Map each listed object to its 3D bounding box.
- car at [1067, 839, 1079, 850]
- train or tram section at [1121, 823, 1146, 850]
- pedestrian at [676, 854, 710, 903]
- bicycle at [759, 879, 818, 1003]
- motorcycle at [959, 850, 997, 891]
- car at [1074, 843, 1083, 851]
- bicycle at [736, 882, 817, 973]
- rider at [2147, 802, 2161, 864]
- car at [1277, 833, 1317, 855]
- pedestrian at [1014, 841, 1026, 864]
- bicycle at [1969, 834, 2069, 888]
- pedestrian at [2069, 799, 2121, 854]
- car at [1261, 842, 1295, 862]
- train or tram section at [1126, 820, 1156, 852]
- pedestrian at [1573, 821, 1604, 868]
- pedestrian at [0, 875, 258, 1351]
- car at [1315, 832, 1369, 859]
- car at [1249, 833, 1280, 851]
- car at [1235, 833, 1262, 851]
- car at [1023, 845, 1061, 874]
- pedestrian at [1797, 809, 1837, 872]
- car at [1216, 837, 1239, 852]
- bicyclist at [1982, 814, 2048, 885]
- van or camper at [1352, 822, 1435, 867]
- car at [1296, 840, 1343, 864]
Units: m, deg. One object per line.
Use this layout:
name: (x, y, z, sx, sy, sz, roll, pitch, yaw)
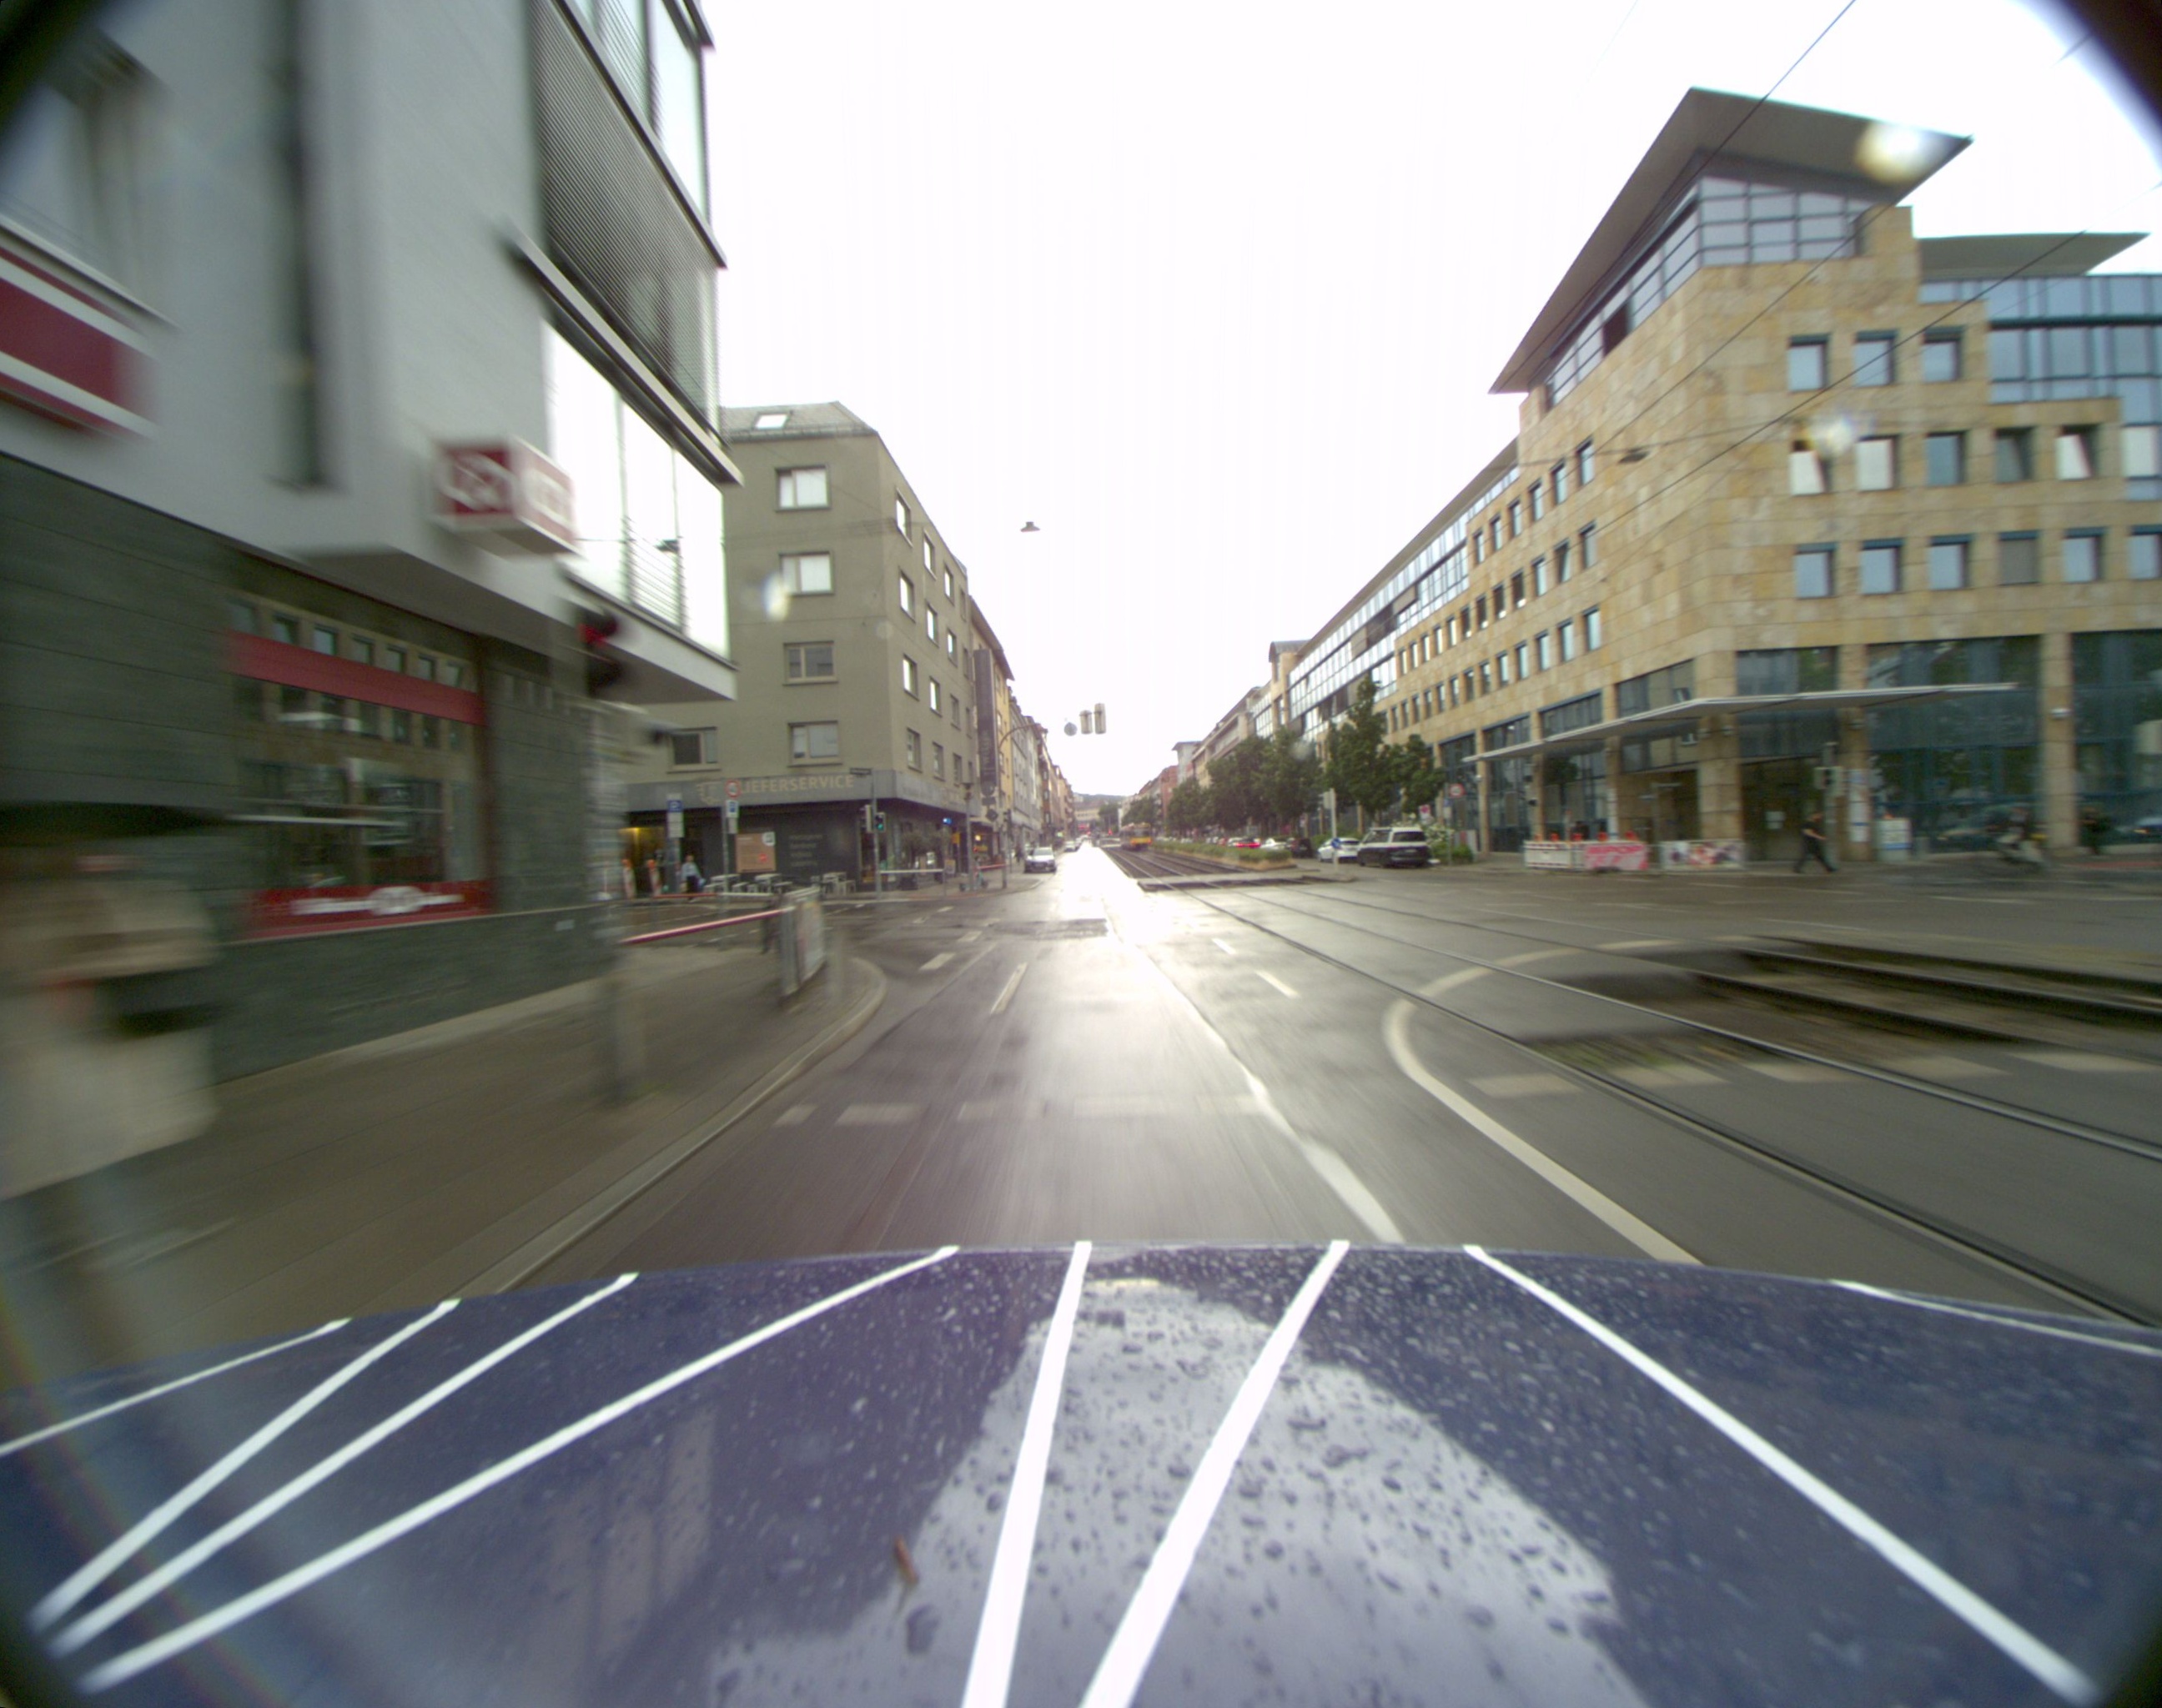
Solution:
car: (-1.220, -1.441, 114.359, 1.653, 1.489, 4.067, -2, 1, 1)
train or tram section: (8.583, -2.971, 126.139, 2.909, 4.028, 18.407, -2, 2, 1)
pedestrian: (-13.278, 0.834, 26.011, 0.549, 1.601, 0.861, -2, 3, 4)
bicycle: (-3.524, 0.955, 9.067, 0.499, 1.251, 1.953, -4, 1, -24)
motorcycle: (-3.776, 0.597, 27.795, 1.134, 1.453, 0.682, -3, 2, -35)
car: (-0.464, -1.380, 146.727, 1.653, 1.584, 4.067, -2, 1, 1)
bicycle: (-4.462, 1.014, 11.059, 0.579, 1.151, 1.951, -4, 1, -35)
rider: (29.426, -0.568, 20.304, 0.710, 1.666, 0.784, -3, 1, 1)
car: (15.769, -0.685, 55.588, 1.693, 1.477, 3.999, -3, 0, 0)
pedestrian: (-4.591, -0.130, 57.239, 0.793, 1.650, 0.721, -4, 2, 1)
bicycle: (24.794, 0.177, 20.100, 1.768, 1.303, 0.660, -3, 1, 0)
pedestrian: (30.984, -0.816, 23.228, 0.580, 1.627, 0.703, -3, 1, 2)
car: (15.654, -0.180, 60.585, 1.653, 1.489, 4.192, -2, 1, 1)
train or tram section: (8.271, -2.612, 107.554, 2.909, 4.028, 18.763, -2, 2, 1)
pedestrian: (19.860, -0.376, 29.745, 0.703, 1.804, 0.679, -3, 1, 3)
pedestrian: (-3.866, 0.892, 2.880, 0.662, 1.573, 0.778, -3, 1, -21)
car: (15.465, -0.481, 45.288, 1.693, 1.477, 4.255, -3, 0, 0)
car: (15.882, -1.043, 65.896, 1.653, 1.489, 4.292, -2, 1, 1)
car: (15.863, -1.181, 71.966, 1.653, 1.592, 4.292, -2, 1, 1)
car: (-2.371, 0.274, 46.936, 2.029, 1.585, 4.619, -2, 1, 0)
pedestrian: (21.307, -0.380, 22.009, 0.677, 1.771, 0.705, -2, 1, 36)
car: (16.143, -1.041, 83.888, 1.653, 1.532, 4.621, -2, 1, 1)
bicyclist: (24.709, -0.119, 20.112, 0.710, 1.794, 0.784, -3, 1, 1)
van or camper: (15.344, -0.507, 37.650, 2.022, 1.986, 5.196, -3, 2, 1)
car: (15.952, -0.145, 50.975, 1.693, 1.477, 4.295, -3, 0, -1)
